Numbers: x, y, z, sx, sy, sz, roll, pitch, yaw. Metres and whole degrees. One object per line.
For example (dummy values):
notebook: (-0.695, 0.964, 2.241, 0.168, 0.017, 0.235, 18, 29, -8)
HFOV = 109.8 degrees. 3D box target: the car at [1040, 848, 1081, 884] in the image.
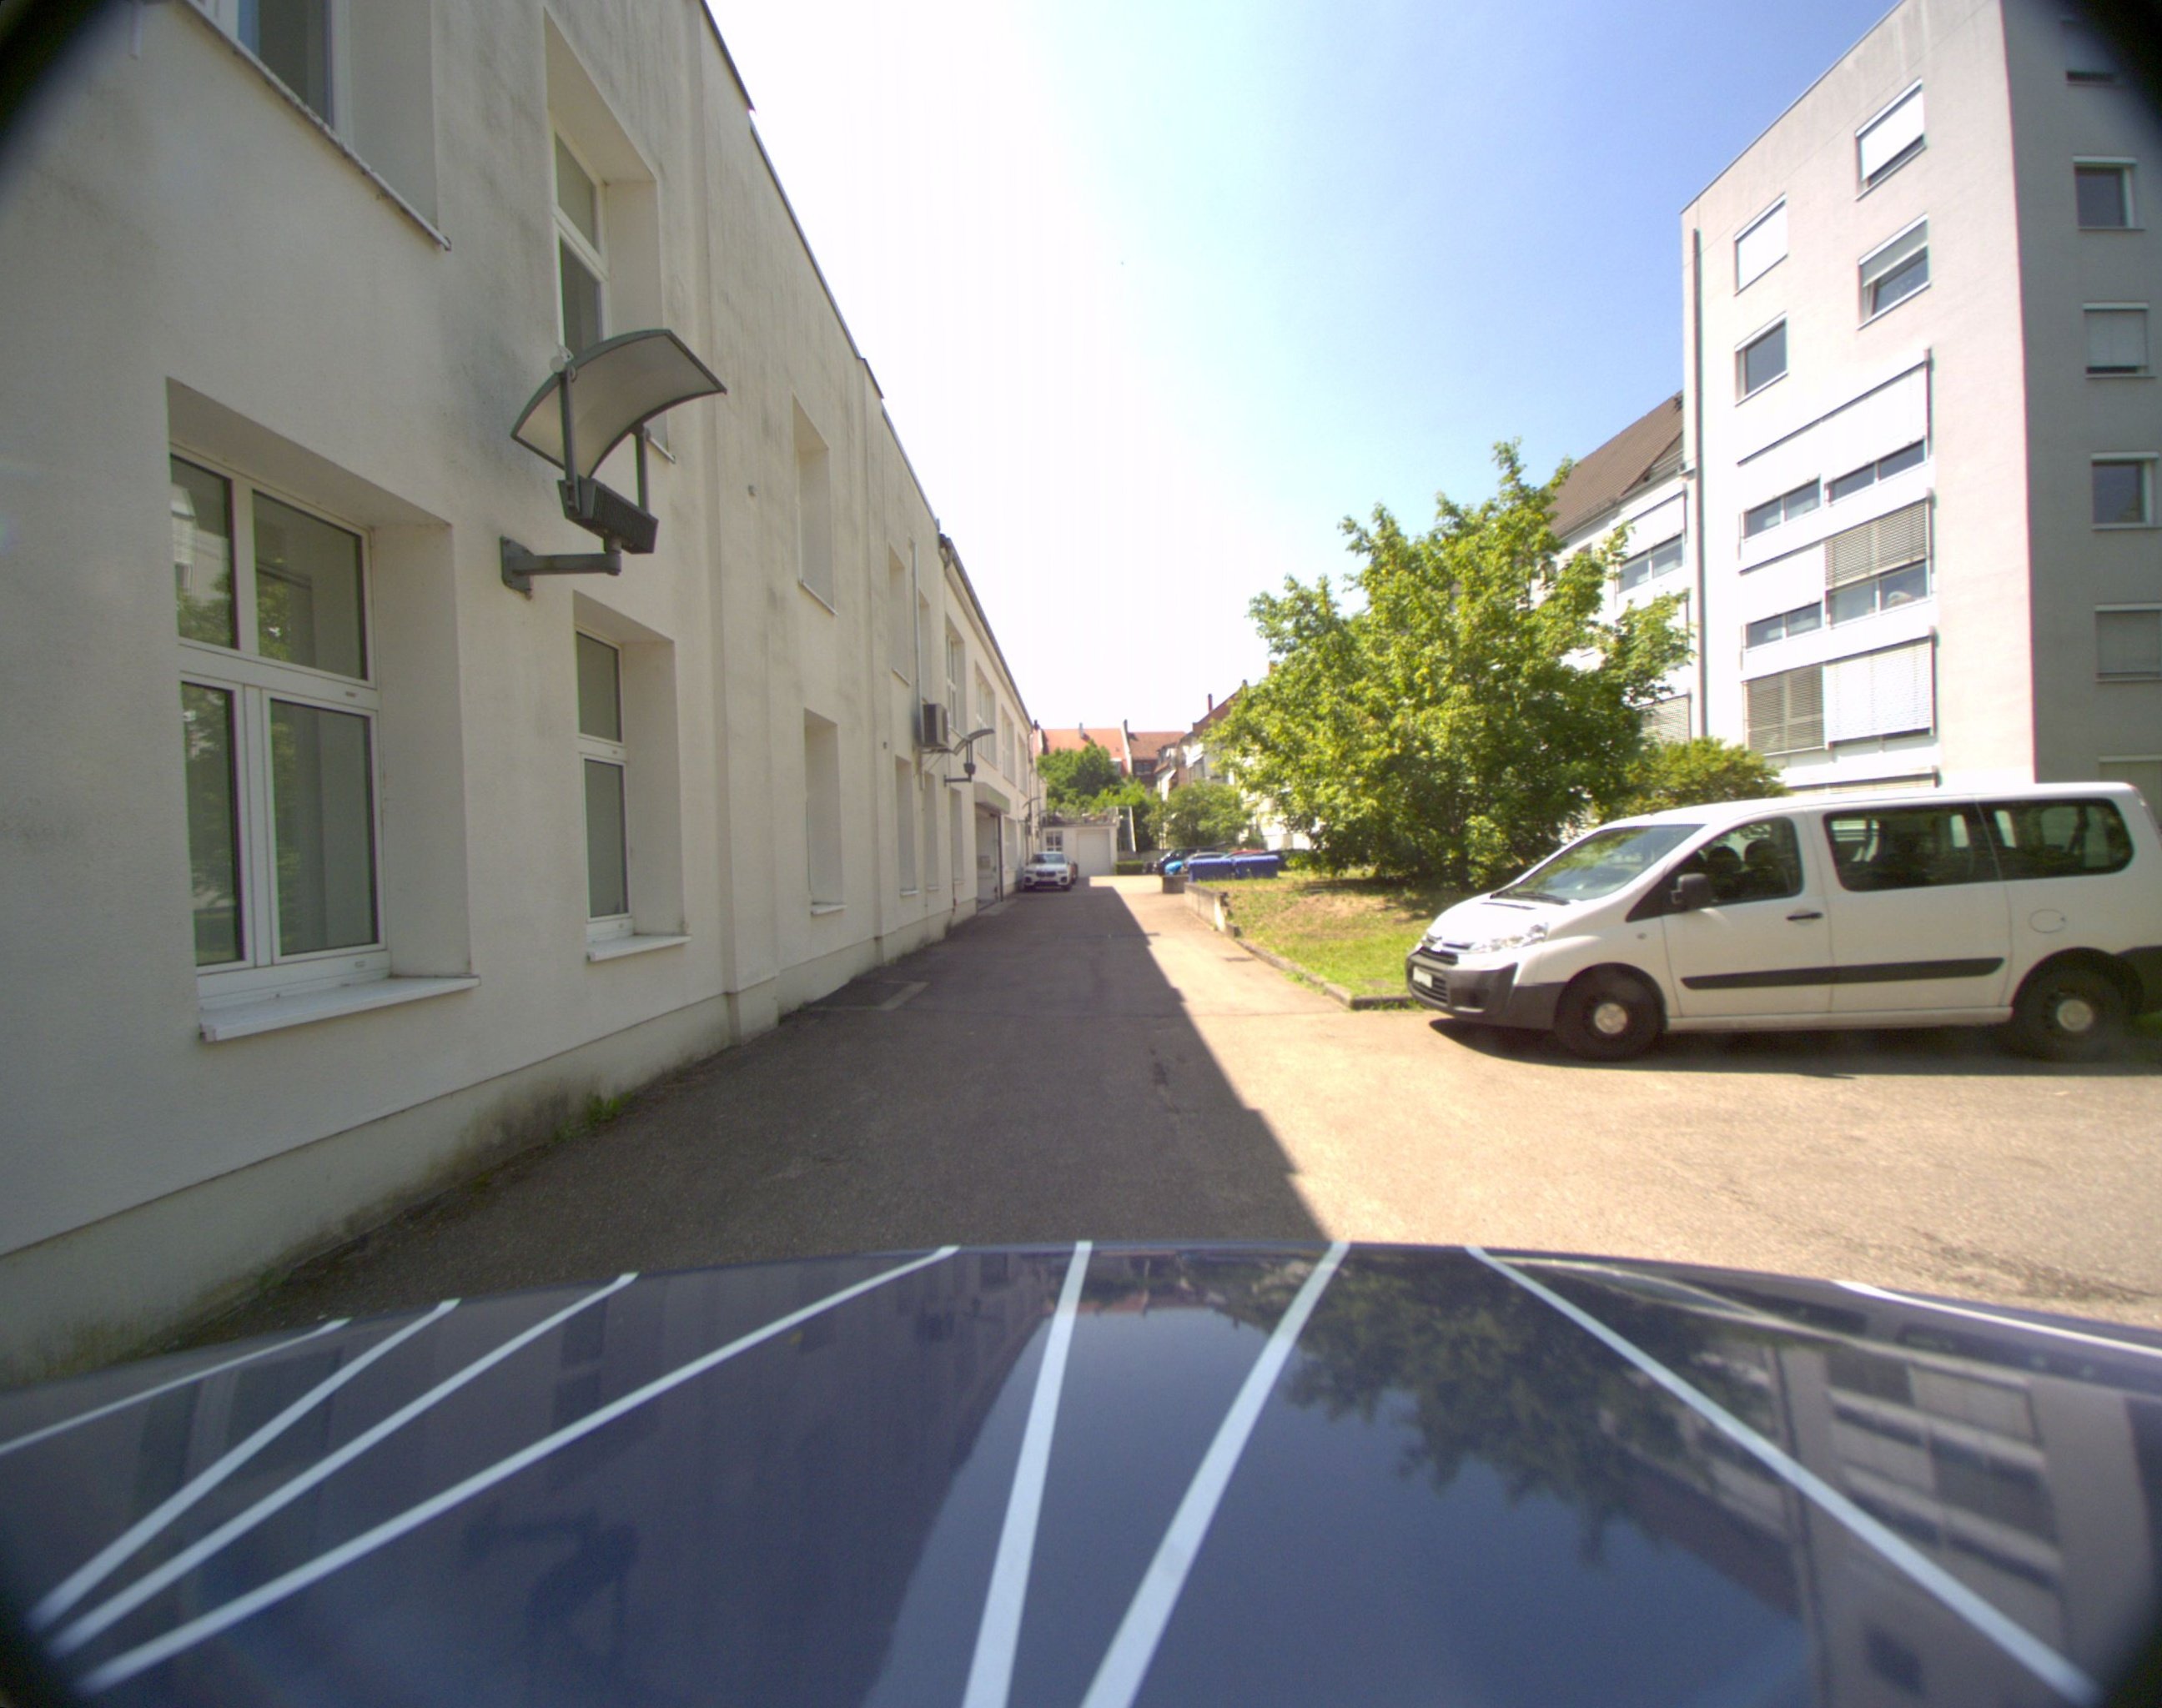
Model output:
car: (-1.111, 0.616, 42.844, 2.011, 1.793, 4.726, -2, 1, 1)

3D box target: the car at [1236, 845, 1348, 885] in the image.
car: (9.196, 0.471, 33.281, 4.445, 1.560, 1.612, -2, 1, -4)

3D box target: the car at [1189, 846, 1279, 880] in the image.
car: (7.874, 0.444, 39.318, 4.223, 1.560, 1.612, -2, 1, -4)

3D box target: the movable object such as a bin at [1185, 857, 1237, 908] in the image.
movable object such as a bin: (3.689, 0.797, 21.675, 1.271, 1.380, 1.095, -2, 1, 1)

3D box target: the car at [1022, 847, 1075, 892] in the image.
car: (-1.374, 0.624, 34.043, 2.011, 1.793, 4.726, -2, 1, 1)

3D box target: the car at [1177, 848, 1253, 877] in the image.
car: (8.046, 0.480, 45.934, 4.223, 1.560, 1.612, -2, 1, -4)

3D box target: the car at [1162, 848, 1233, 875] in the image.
car: (7.497, 0.464, 49.004, 4.223, 1.560, 1.612, -2, 1, -4)

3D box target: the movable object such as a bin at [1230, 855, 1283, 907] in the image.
movable object such as a bin: (4.987, 0.755, 21.673, 1.271, 1.380, 1.095, -2, 1, 1)

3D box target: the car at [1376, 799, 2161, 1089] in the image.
car: (5.234, 0.613, 6.177, 4.858, 1.873, 2.067, -2, 1, 3)

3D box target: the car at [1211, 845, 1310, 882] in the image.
car: (8.464, 0.448, 36.001, 4.223, 1.560, 1.612, -2, 1, -4)

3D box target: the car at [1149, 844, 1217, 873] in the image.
car: (6.932, 0.305, 51.949, 4.223, 1.813, 2.008, -2, 1, -4)
